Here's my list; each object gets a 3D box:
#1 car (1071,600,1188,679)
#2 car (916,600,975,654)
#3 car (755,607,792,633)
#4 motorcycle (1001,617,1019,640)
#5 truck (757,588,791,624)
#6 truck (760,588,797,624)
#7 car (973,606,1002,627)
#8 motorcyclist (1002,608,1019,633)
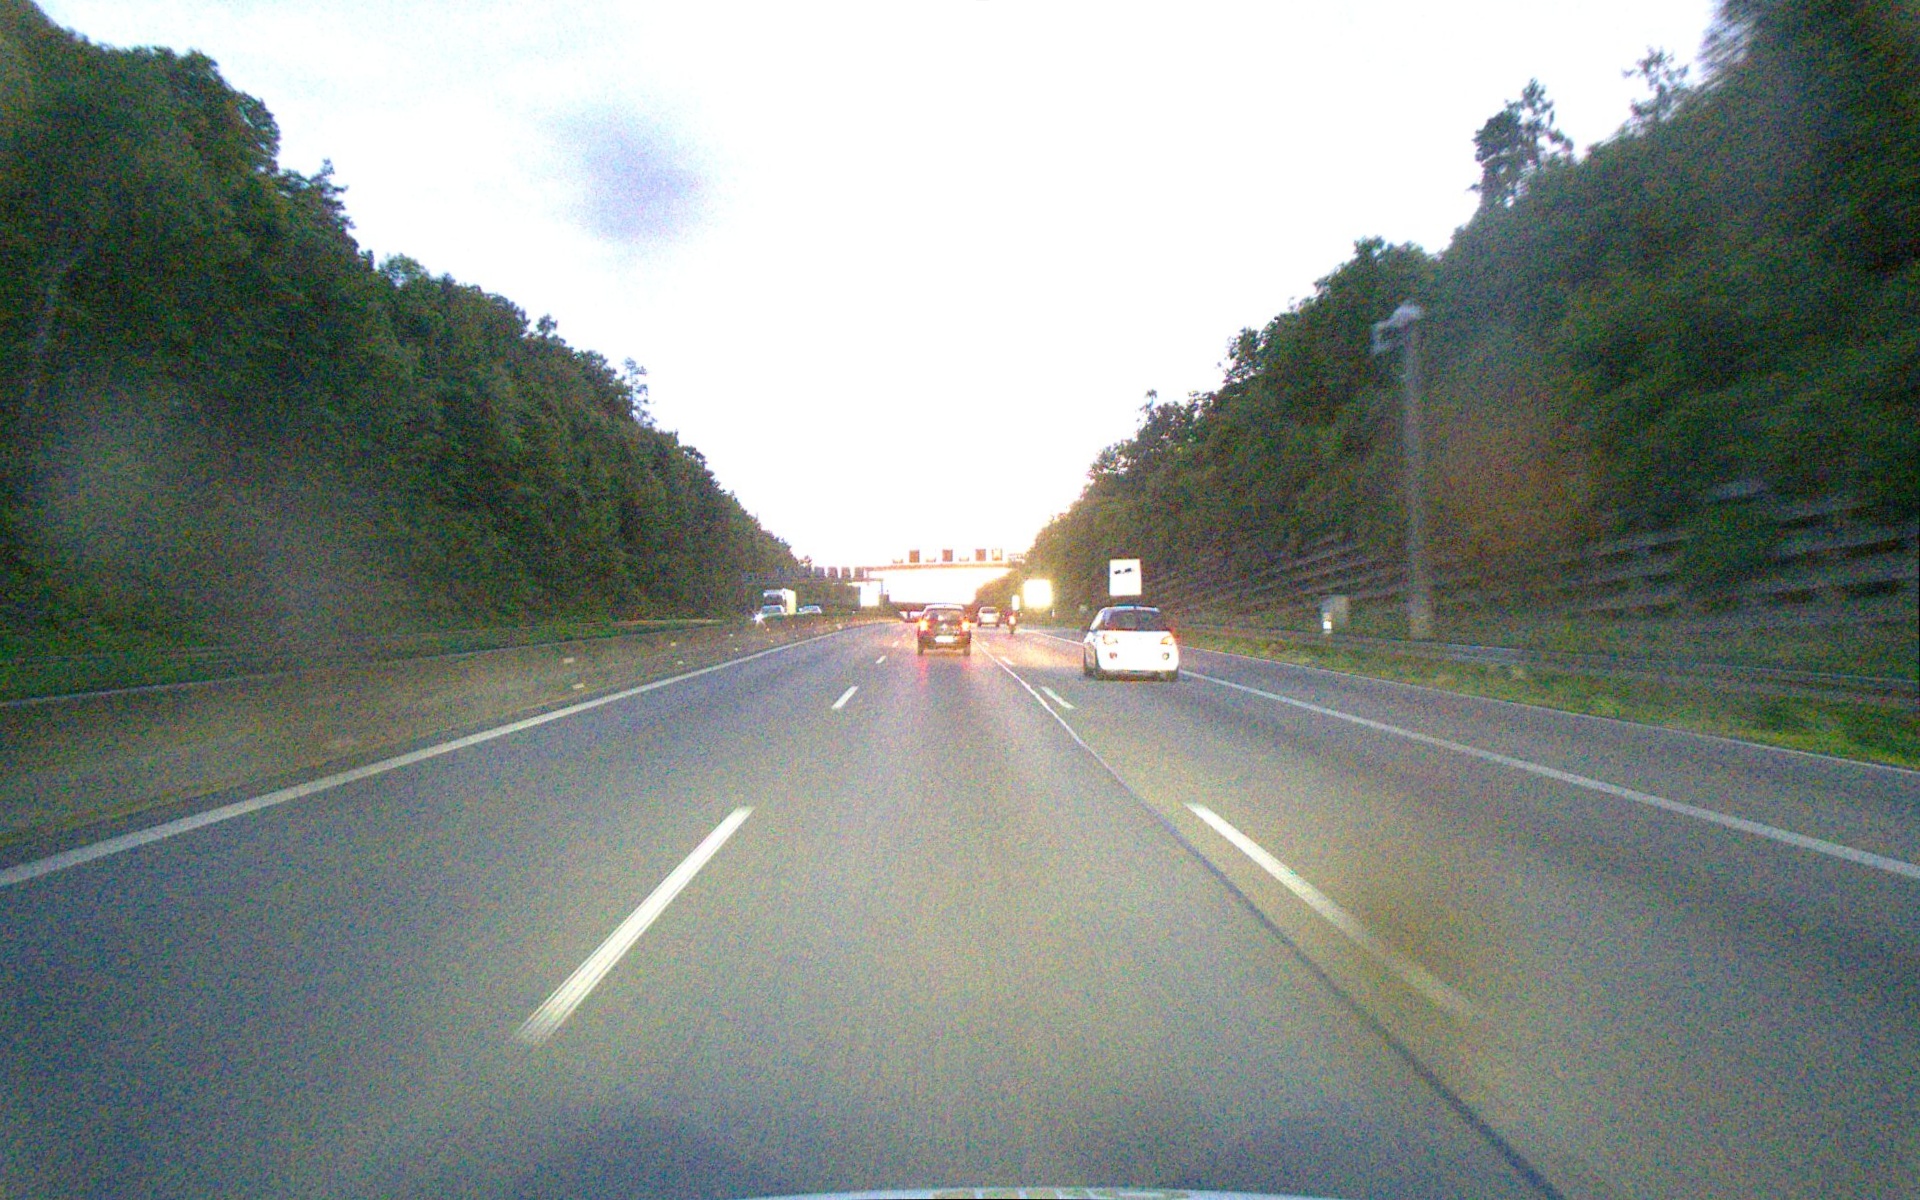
[{"bbox_3d":[3.482,0.831,34.638,1.789,1.502,4.396,1,-1,-3],"label":"car"},{"bbox_3d":[-0.456,0.831,50.016,1.669,1.536,4.230,1,-1,-1],"label":"car"},{"bbox_3d":[-12.343,1.286,109.636,1.878,1.641,5.158,-1,0,-1],"label":"car"},{"bbox_3d":[2.626,1.486,86.444,0.813,1.154,2.475,0,-1,-1],"label":"motorcycle"},{"bbox_3d":[-21.674,0.668,193.384,3.312,4.073,6.876,-1,0,-2],"label":"truck"},{"bbox_3d":[-21.904,0.741,200.204,3.289,4.073,14.491,-1,0,-2],"label":"truck"},{"bbox_3d":[2.136,1.315,129.825,1.829,1.520,4.393,1,-1,-5],"label":"car"},{"bbox_3d":[2.622,1.061,86.384,0.813,1.314,1.189,0,-1,-1],"label":"motorcyclist"}]
